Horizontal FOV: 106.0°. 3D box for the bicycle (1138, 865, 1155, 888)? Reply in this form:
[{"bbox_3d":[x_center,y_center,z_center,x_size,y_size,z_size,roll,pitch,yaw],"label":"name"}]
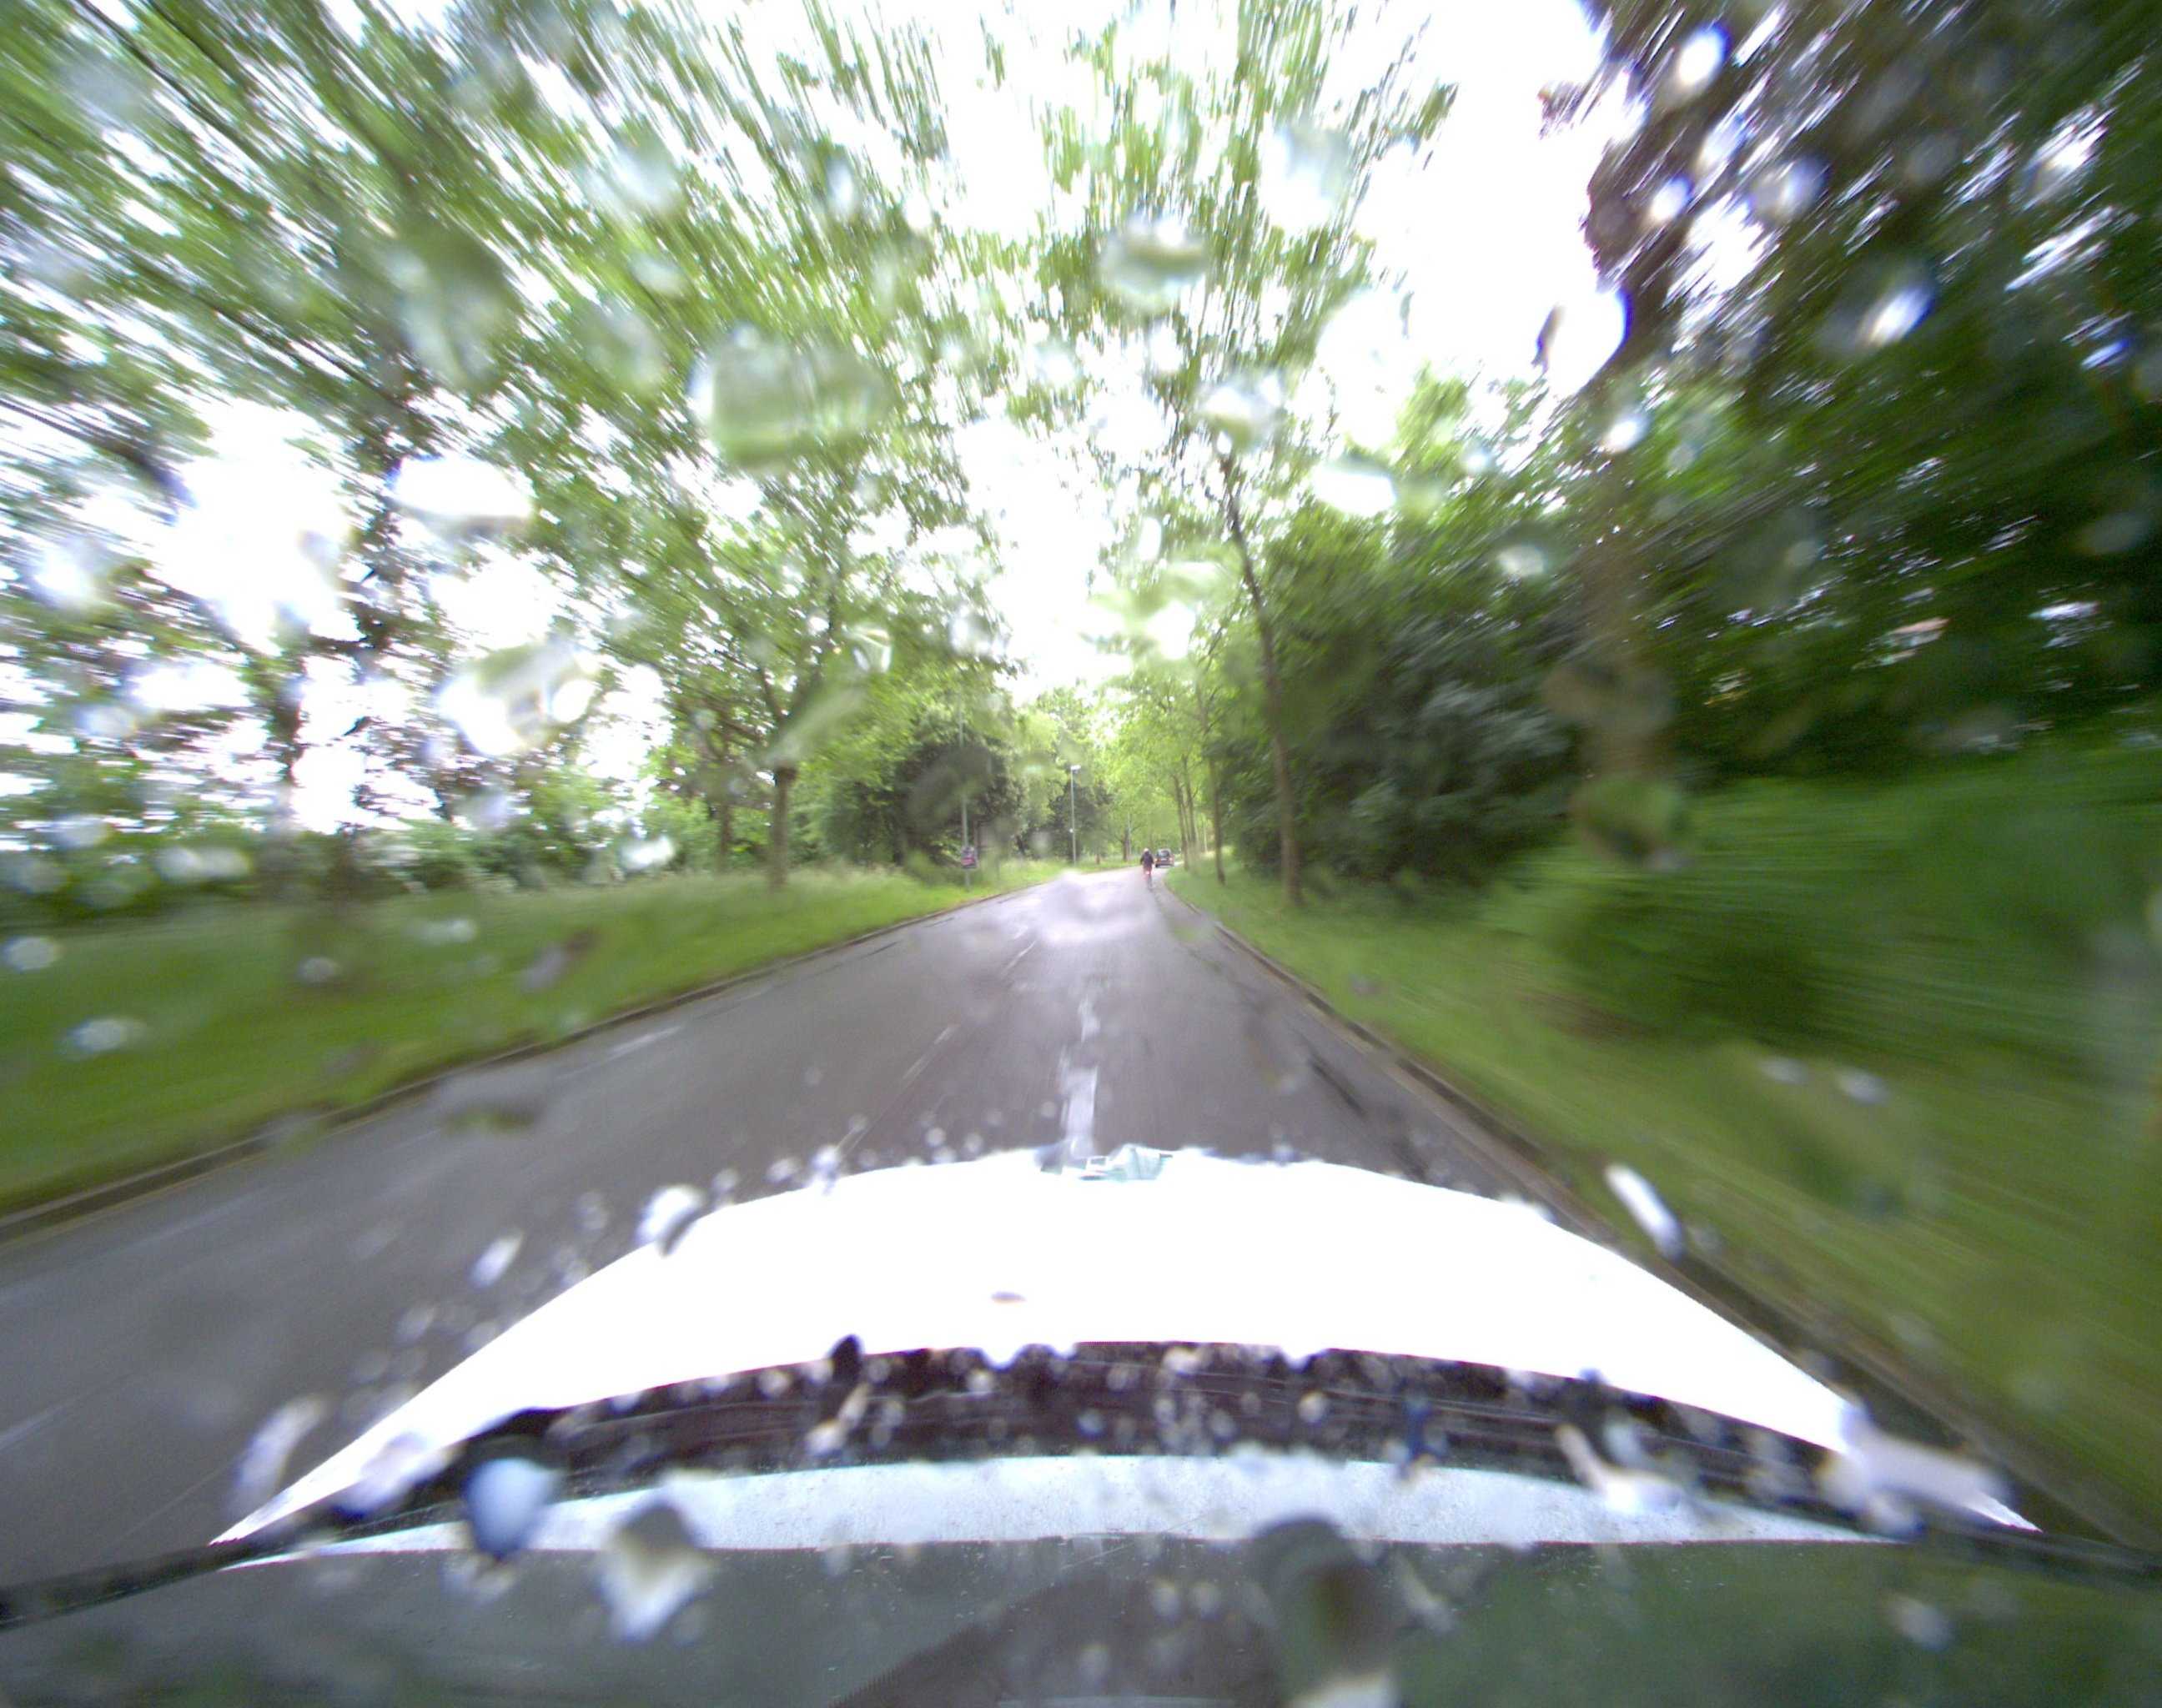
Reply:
[{"bbox_3d":[2.912,0.987,36.071,0.726,0.974,2.176,-1,0,5],"label":"bicycle"}]

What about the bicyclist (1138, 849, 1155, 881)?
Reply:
[{"bbox_3d":[2.887,0.479,35.906,0.726,1.411,0.974,-1,0,5],"label":"bicyclist"}]

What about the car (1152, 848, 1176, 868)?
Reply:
[{"bbox_3d":[8.356,0.384,82.173,1.972,1.926,4.013,-2,0,11],"label":"car"}]
